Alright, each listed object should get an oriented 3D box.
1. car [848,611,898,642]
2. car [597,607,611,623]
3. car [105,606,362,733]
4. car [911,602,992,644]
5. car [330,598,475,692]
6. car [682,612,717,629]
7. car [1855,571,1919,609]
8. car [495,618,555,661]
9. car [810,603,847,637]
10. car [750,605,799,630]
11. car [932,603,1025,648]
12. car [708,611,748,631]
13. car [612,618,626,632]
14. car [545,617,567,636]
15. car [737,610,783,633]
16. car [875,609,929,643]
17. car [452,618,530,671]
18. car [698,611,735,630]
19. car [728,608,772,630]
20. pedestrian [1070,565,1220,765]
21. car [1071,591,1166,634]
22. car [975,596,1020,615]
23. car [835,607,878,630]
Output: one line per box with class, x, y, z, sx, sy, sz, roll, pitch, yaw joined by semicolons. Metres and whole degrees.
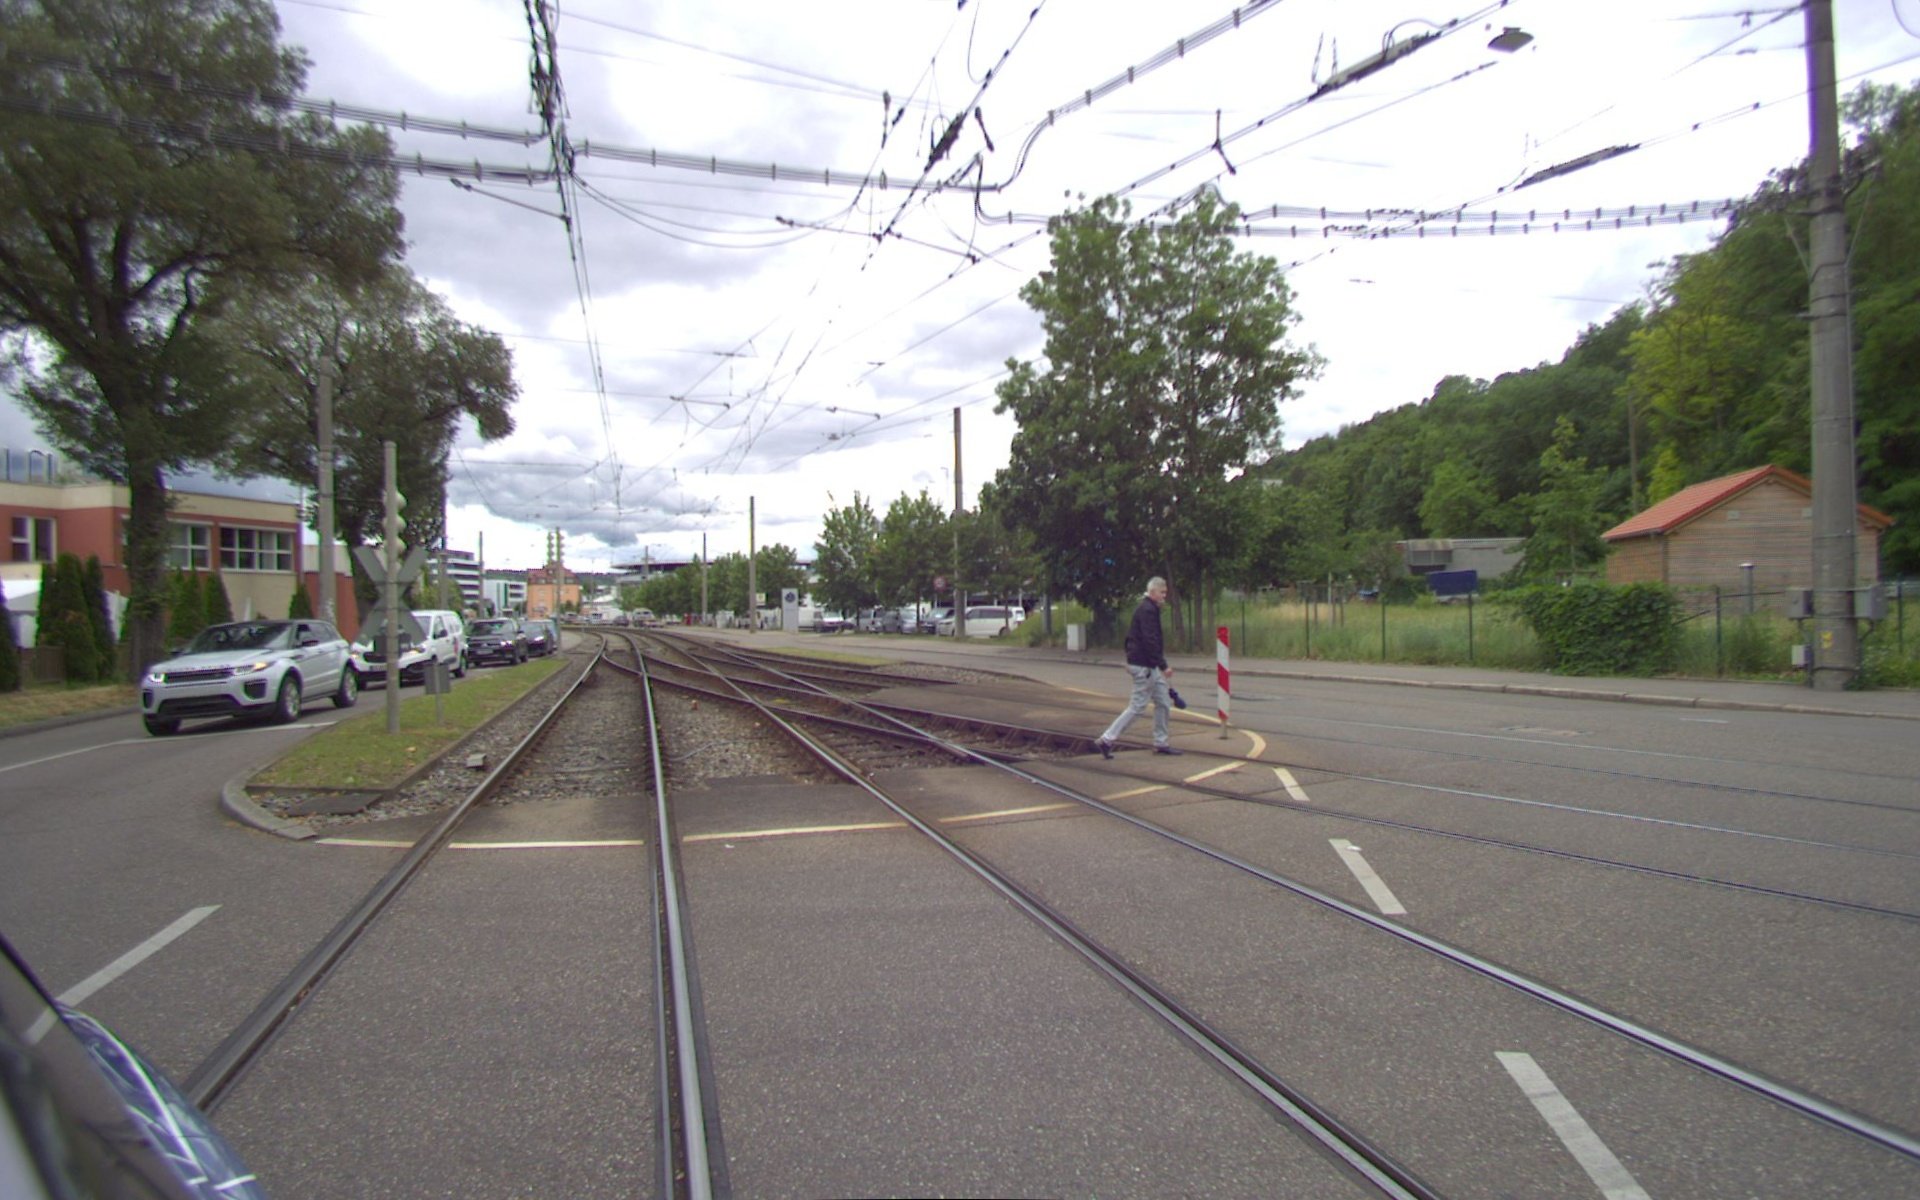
car;-6.594;1.966;76.478;2.106;2.131;4.792;-4;1;-25
car;-70.173;2.886;199.212;2.371;2.970;4.764;-4;1;-19
car;-11.487;0.995;16.412;1.966;1.703;4.281;-2;0;-15
car;-0.549;1.432;65.283;4.695;2.284;1.986;-5;1;-20
car;-13.927;1.097;25.633;1.967;2.017;5.048;-4;-1;-15
car;-38.945;3.086;151.363;4.560;2.225;2.116;-5;1;-25
car;39.584;-0.436;42.133;1.738;1.387;3.670;-4;1;10
car;-18.388;1.616;42.982;1.966;1.567;4.575;-3;1;-19
car;-12.670;1.892;97.174;2.282;3.033;6.177;-4;1;-17
car;-19.823;1.878;108.130;4.560;2.225;2.116;-5;1;-25
car;1.125;1.534;61.923;5.182;2.284;2.006;-5;1;-20
car;-29.974;2.659;130.618;4.560;2.225;2.116;-5;1;-25
car;-48.780;3.541;144.811;1.874;1.730;4.150;-3;2;-19
car;-40.909;2.667;102.484;1.838;1.763;4.013;-4;1;-22
car;-22.273;2.374;112.718;4.560;2.225;2.116;-5;1;-25
car;-4.093;1.830;70.683;2.106;2.131;4.792;-4;1;-24
car;-16.294;1.499;35.377;1.966;1.567;4.575;-3;1;-19
car;-33.667;2.825;140.006;4.560;2.225;2.116;-5;1;-25
car;-24.411;2.223;117.554;4.560;2.225;2.116;-5;1;-25
pedestrian;1.770;0.601;9.819;1.103;1.773;0.815;-4;0;-8
car;10.179;0.805;65.536;5.780;2.284;2.050;-4;1;6
car;4.510;0.641;121.333;5.162;1.850;1.978;-4;1;5
car;-12.047;2.123;117.680;4.561;2.225;2.115;-4;1;-17
